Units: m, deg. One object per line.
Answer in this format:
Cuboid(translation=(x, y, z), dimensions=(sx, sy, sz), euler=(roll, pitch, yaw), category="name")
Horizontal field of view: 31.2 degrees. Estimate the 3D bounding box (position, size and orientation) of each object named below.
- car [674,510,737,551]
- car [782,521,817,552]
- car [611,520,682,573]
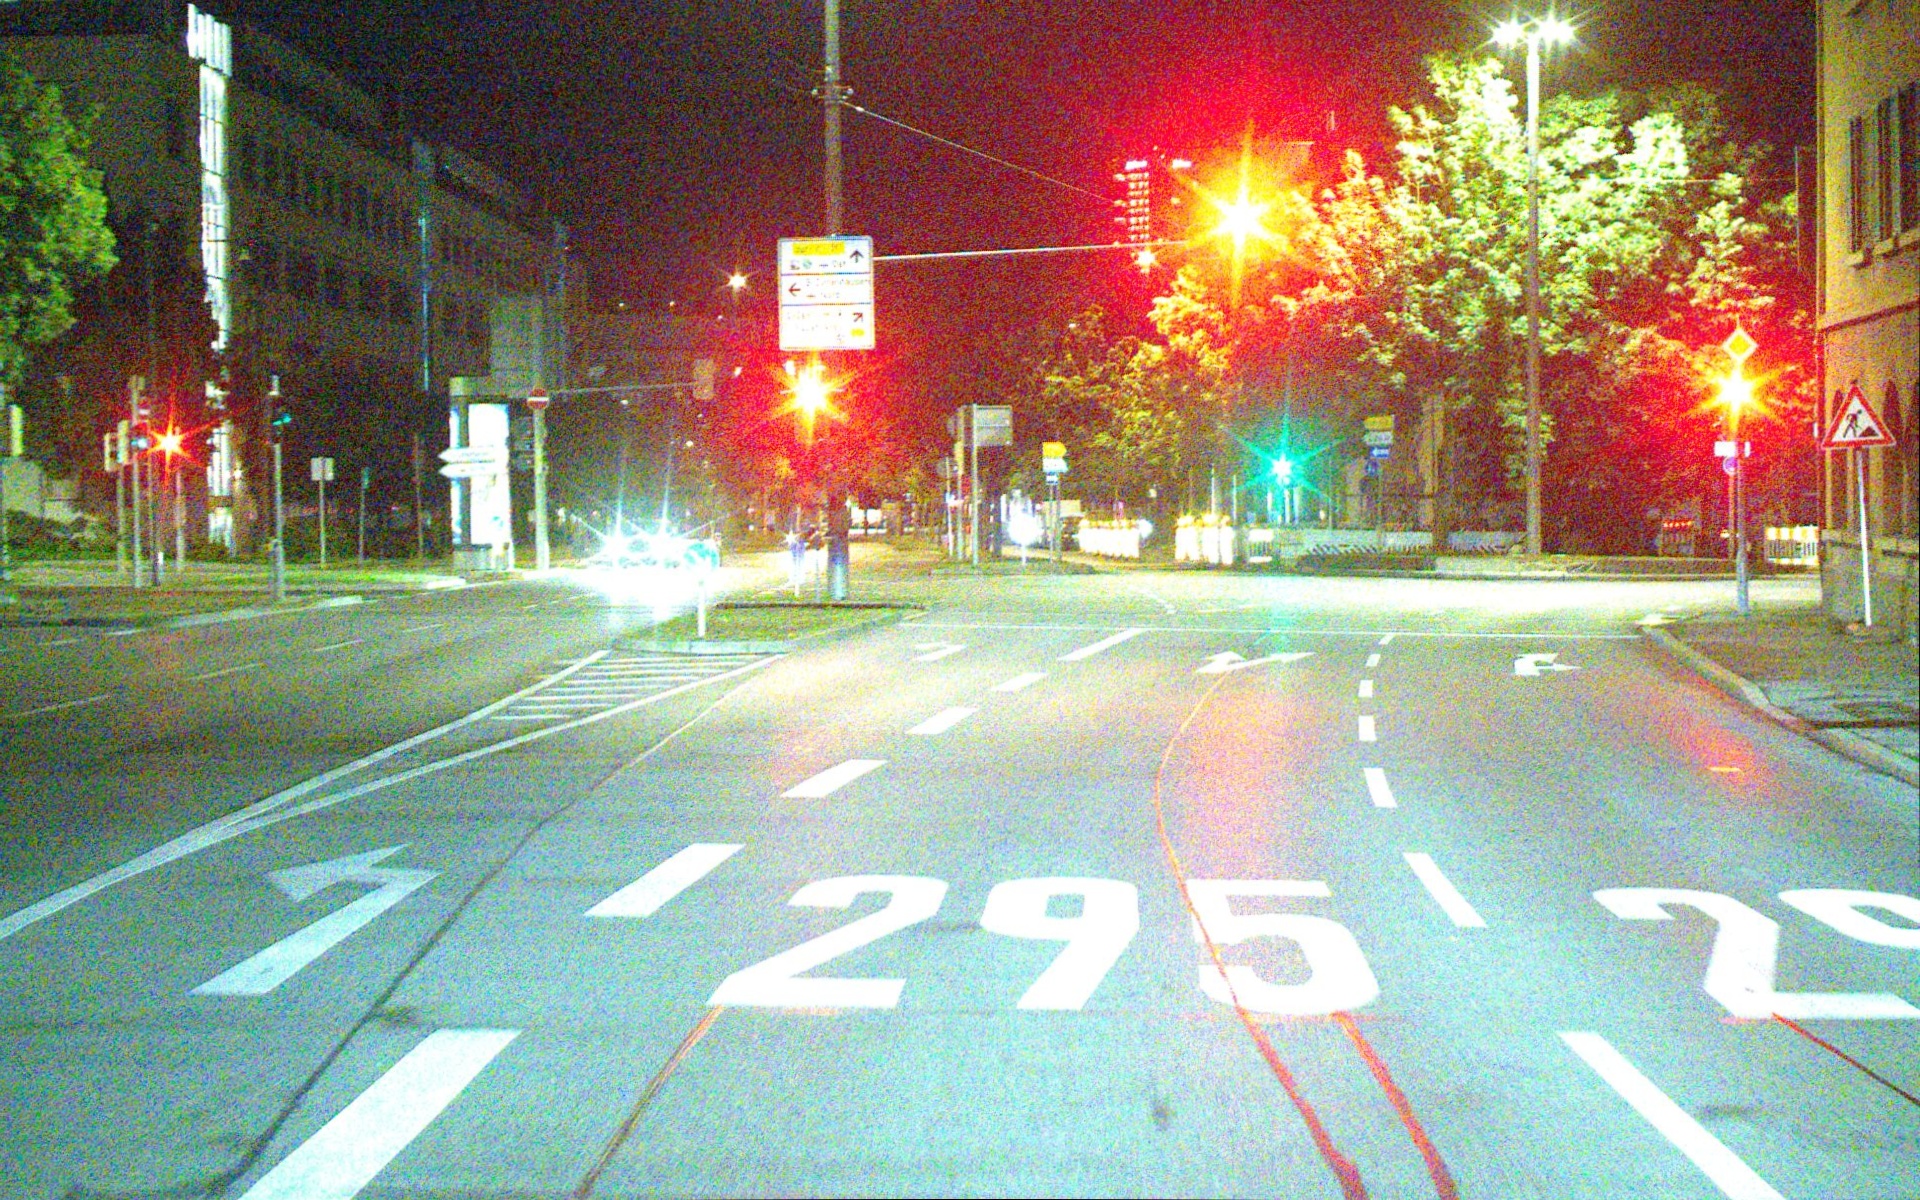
Cuboid(translation=(-8.224, -2.255, 111.449), dimensions=(1.758, 1.317, 3.548), euler=(0, 1, 1), category="car")
Cuboid(translation=(-8.856, -3.507, 190.057), dimensions=(1.758, 1.722, 3.548), euler=(0, 1, 1), category="car")
Cuboid(translation=(-9.014, -1.549, 99.115), dimensions=(1.616, 1.509, 4.000), euler=(0, 1, 1), category="car")
